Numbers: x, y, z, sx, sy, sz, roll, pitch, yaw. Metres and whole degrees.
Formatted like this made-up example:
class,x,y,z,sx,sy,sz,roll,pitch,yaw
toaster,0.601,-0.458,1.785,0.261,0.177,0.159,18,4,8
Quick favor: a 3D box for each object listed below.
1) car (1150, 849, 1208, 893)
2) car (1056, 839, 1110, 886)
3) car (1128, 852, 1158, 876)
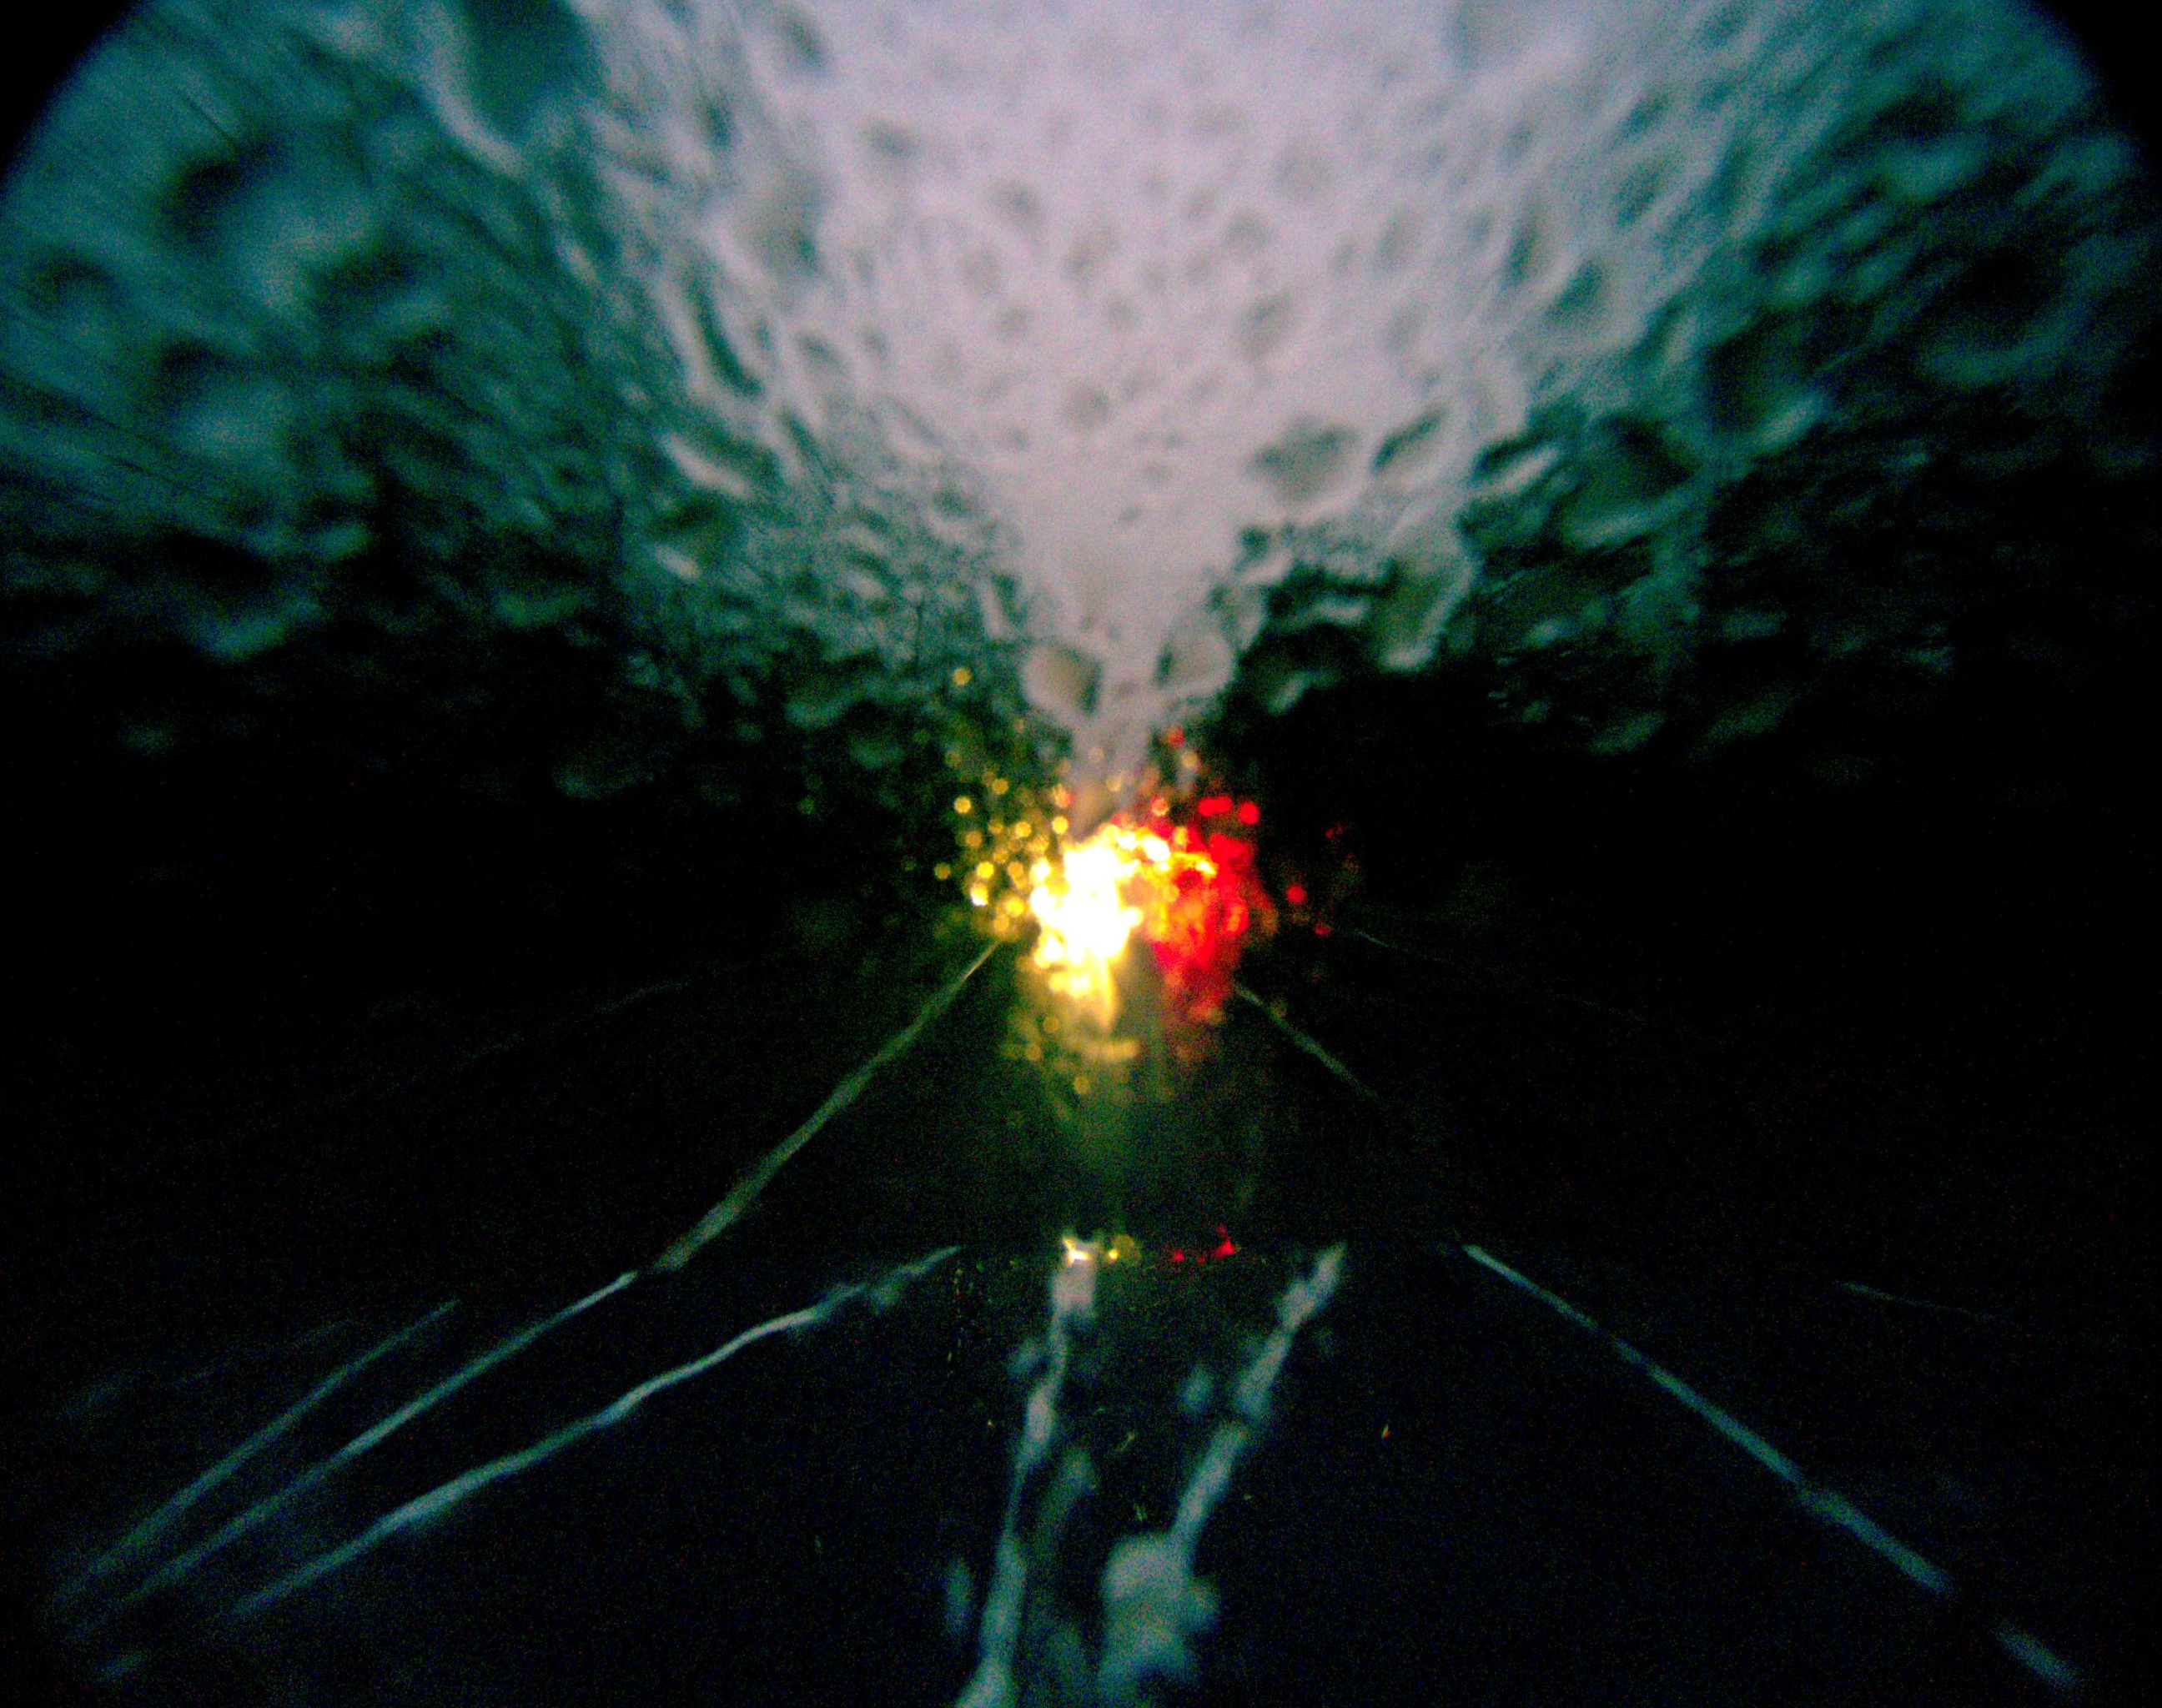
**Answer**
class,x,y,z,sx,sy,sz,roll,pitch,yaw
car,3.966,0.670,31.464,1.826,1.639,4.750,1,0,1
car,0.185,0.377,40.256,2.542,2.213,6.169,-2,1,2
car,4.260,0.685,52.918,1.804,1.591,3.861,0,1,1
